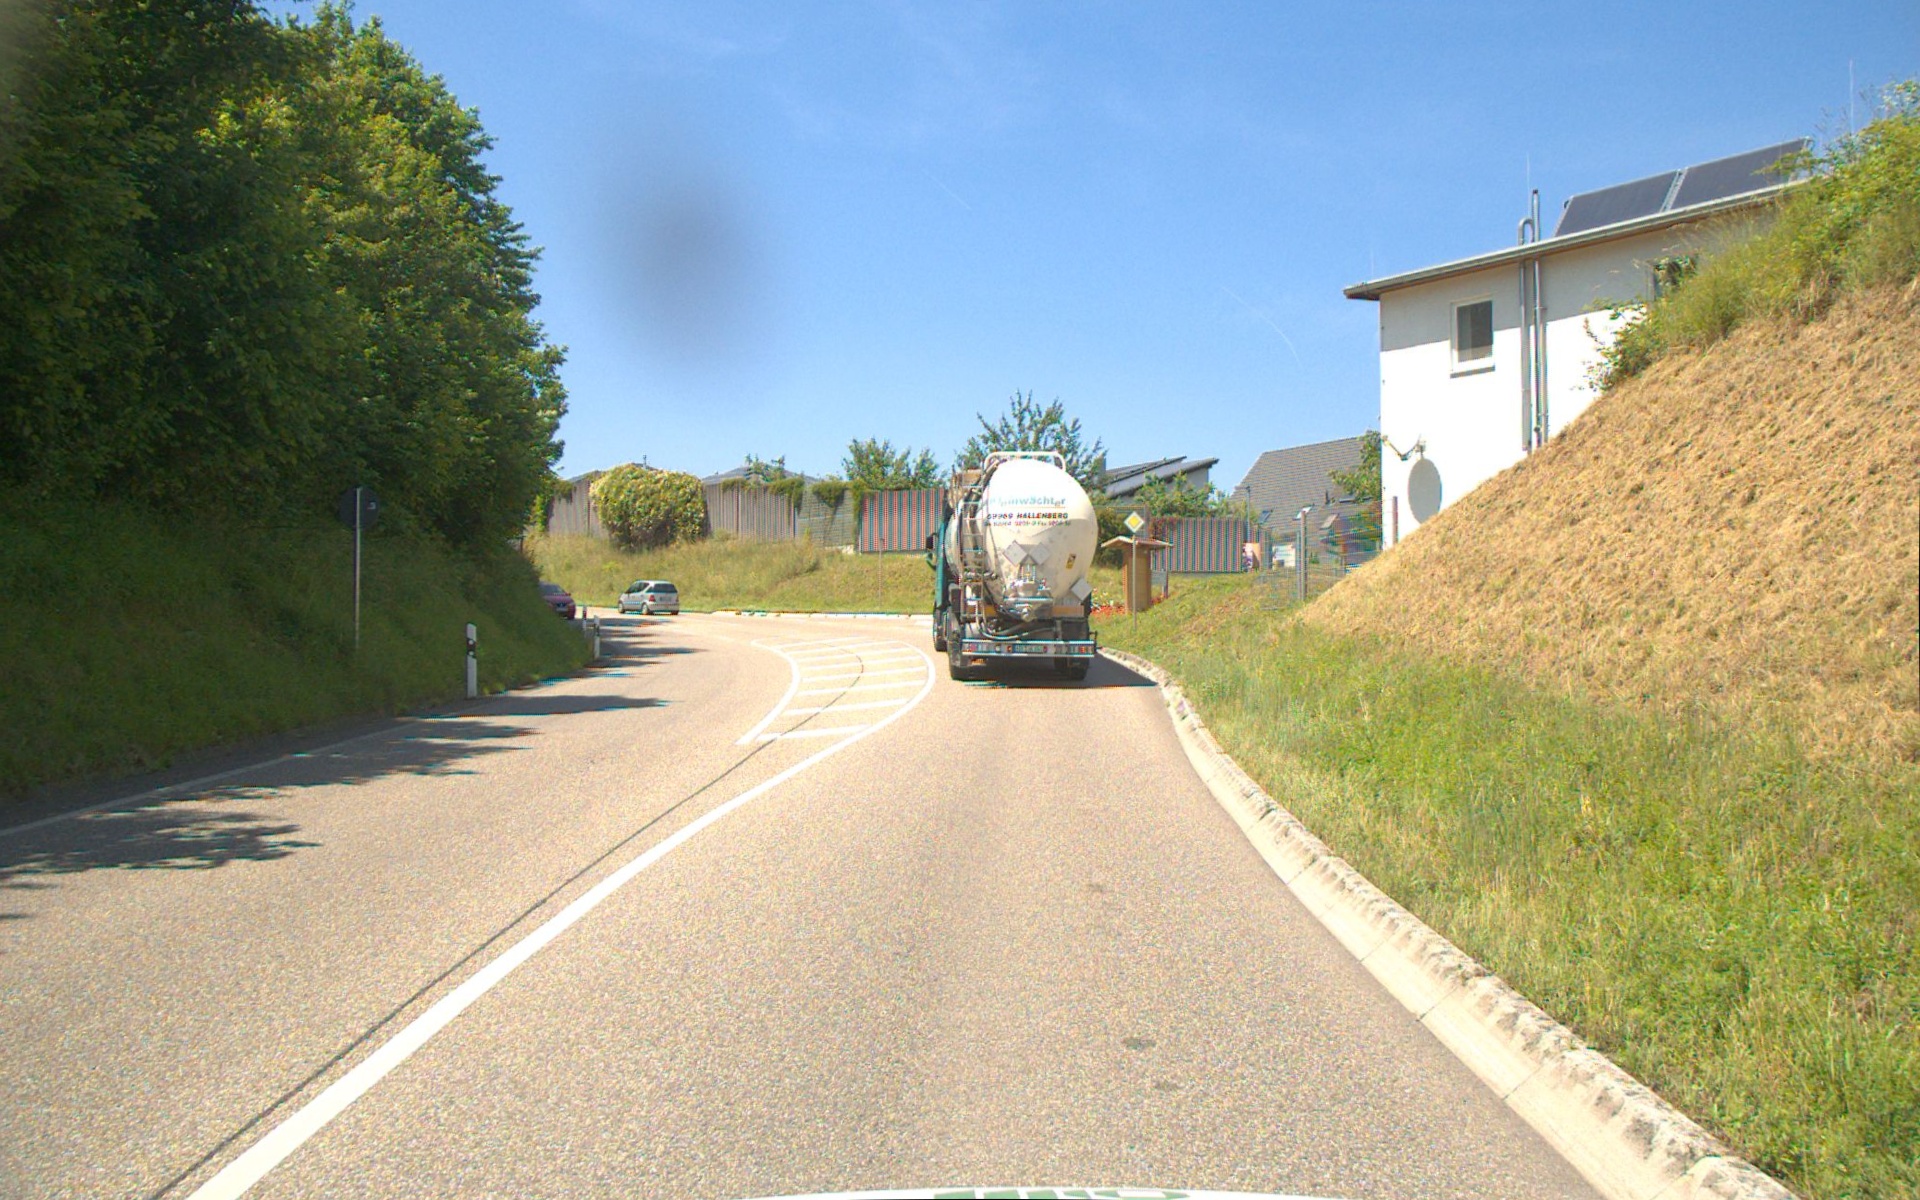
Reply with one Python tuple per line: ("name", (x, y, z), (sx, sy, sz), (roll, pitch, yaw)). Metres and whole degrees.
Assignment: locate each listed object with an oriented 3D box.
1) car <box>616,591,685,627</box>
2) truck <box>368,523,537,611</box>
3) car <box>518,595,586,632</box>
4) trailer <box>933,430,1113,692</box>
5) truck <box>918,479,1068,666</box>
("car", (-14.197, 0.398, 75.734), (1.635, 1.536, 3.591), (4, -2, -37))
("truck", (-28.442, -1.900, 92.313), (11.586, 4.384, 3.183), (3, -1, 41))
("car", (-16.860, 0.528, 68.263), (1.731, 1.473, 3.961), (-1, 1, -29))
("trailer", (0.941, -0.714, 33.007), (2.608, 4.261, 11.898), (0, 1, -3))
("truck", (0.617, -0.629, 39.336), (2.674, 3.998, 7.254), (1, 0, -6))
